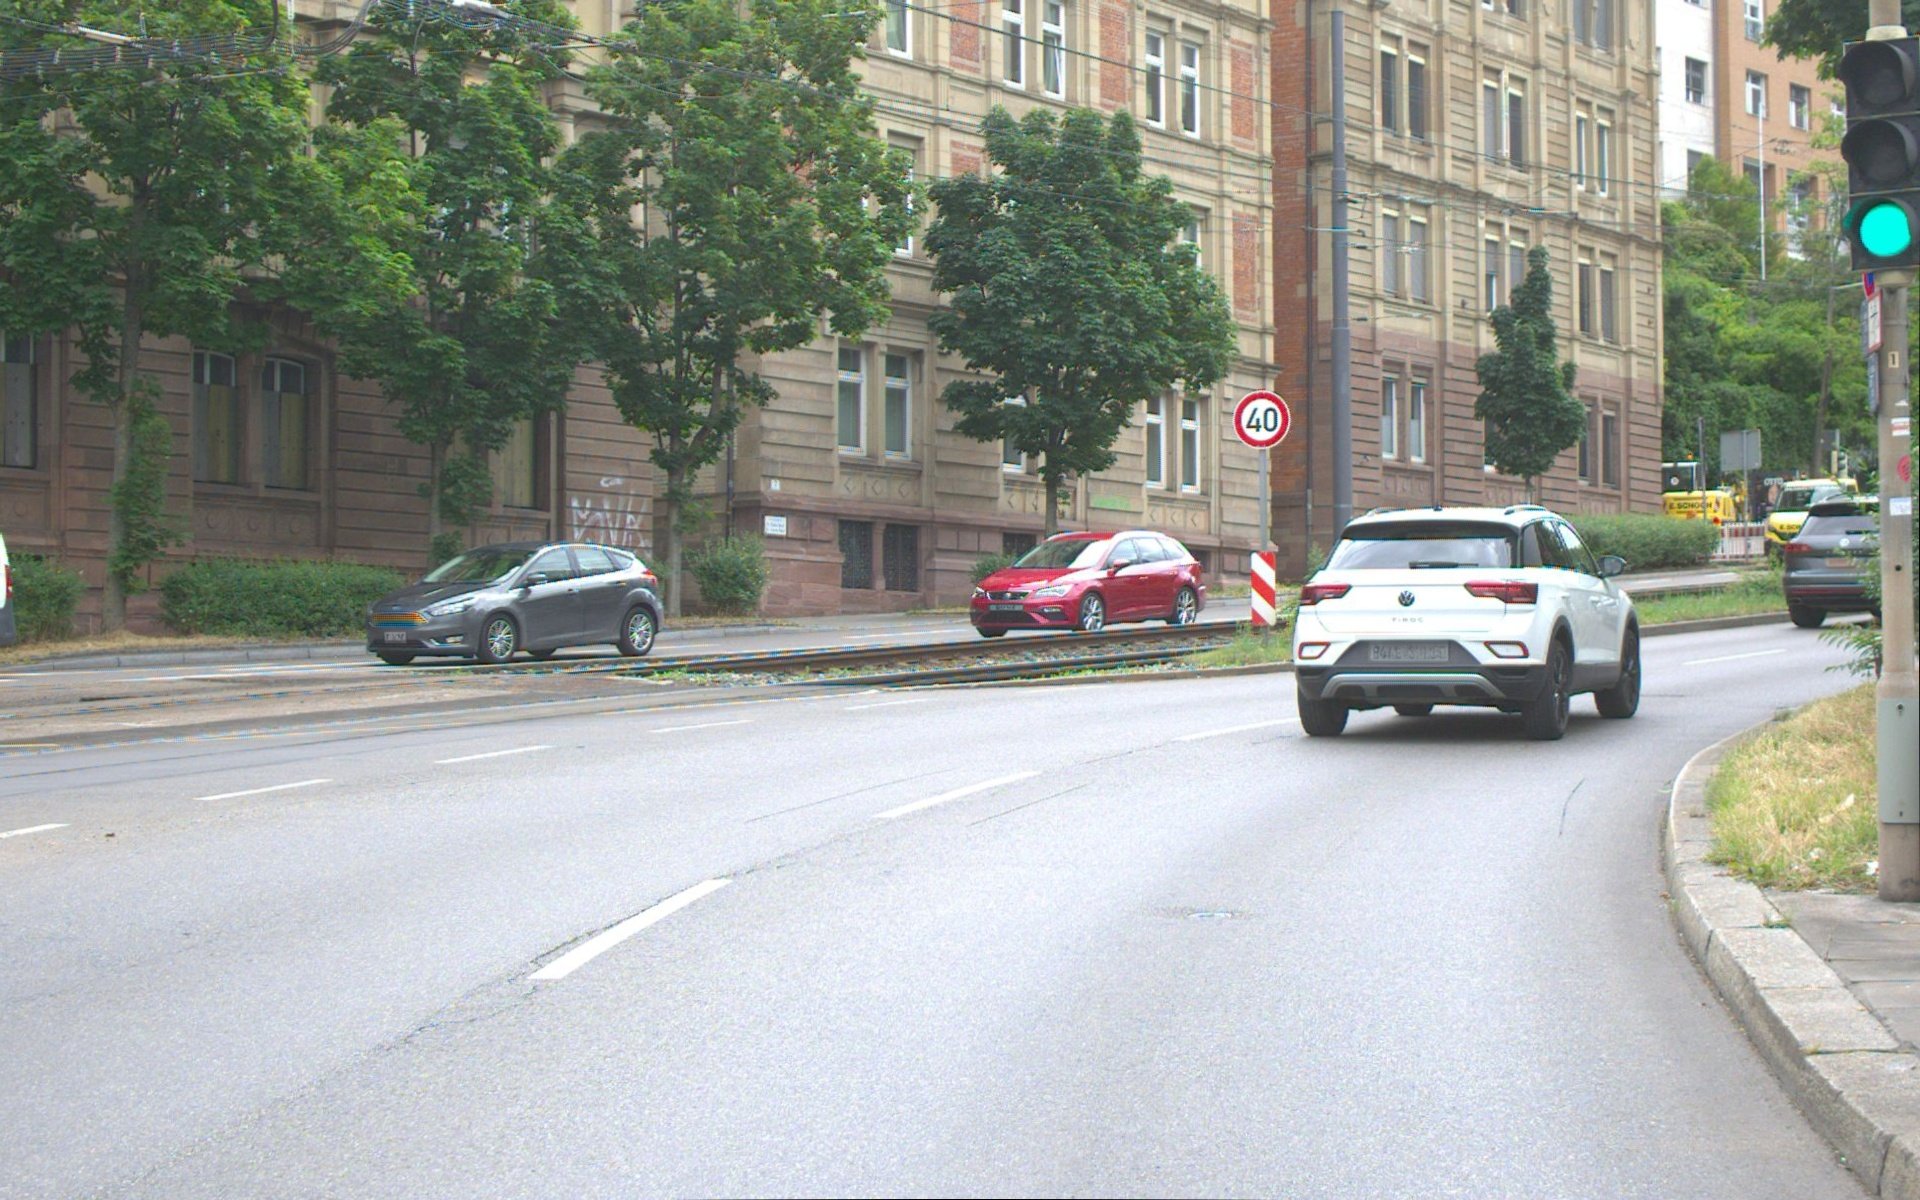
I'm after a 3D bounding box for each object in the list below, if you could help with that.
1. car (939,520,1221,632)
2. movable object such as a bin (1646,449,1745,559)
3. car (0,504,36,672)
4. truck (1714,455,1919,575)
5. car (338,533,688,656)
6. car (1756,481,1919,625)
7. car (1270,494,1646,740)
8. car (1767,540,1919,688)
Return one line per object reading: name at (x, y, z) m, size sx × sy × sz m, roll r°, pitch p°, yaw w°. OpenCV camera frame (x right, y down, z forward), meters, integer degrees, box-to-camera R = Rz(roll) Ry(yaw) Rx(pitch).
car at (1.756, -0.350, 48.773) m, size 1.997 × 1.514 × 4.397 m, roll 1°, pitch 1°, yaw 33°
movable object such as a bin at (19.592, -2.539, 91.549) m, size 1.997 × 2.828 × 2.026 m, roll -1°, pitch 0°, yaw 30°
car at (-12.495, -0.117, 36.656) m, size 1.997 × 1.843 × 4.983 m, roll 1°, pitch 1°, yaw 35°
truck at (22.238, -2.126, 87.934) m, size 2.924 × 2.500 × 7.139 m, roll 10°, pitch 5°, yaw 35°
car at (-5.413, -0.103, 42.134) m, size 1.746 × 1.422 × 4.397 m, roll 0°, pitch 1°, yaw 35°
car at (11.579, -0.579, 43.515) m, size 1.842 × 1.734 × 3.993 m, roll 1°, pitch 0°, yaw 30°
car at (3.604, 0.098, 24.279) m, size 1.940 × 1.561 × 4.042 m, roll -1°, pitch 0°, yaw 18°
car at (10.711, 0.160, 39.328) m, size 1.906 × 1.568 × 3.828 m, roll 2°, pitch 1°, yaw 28°
